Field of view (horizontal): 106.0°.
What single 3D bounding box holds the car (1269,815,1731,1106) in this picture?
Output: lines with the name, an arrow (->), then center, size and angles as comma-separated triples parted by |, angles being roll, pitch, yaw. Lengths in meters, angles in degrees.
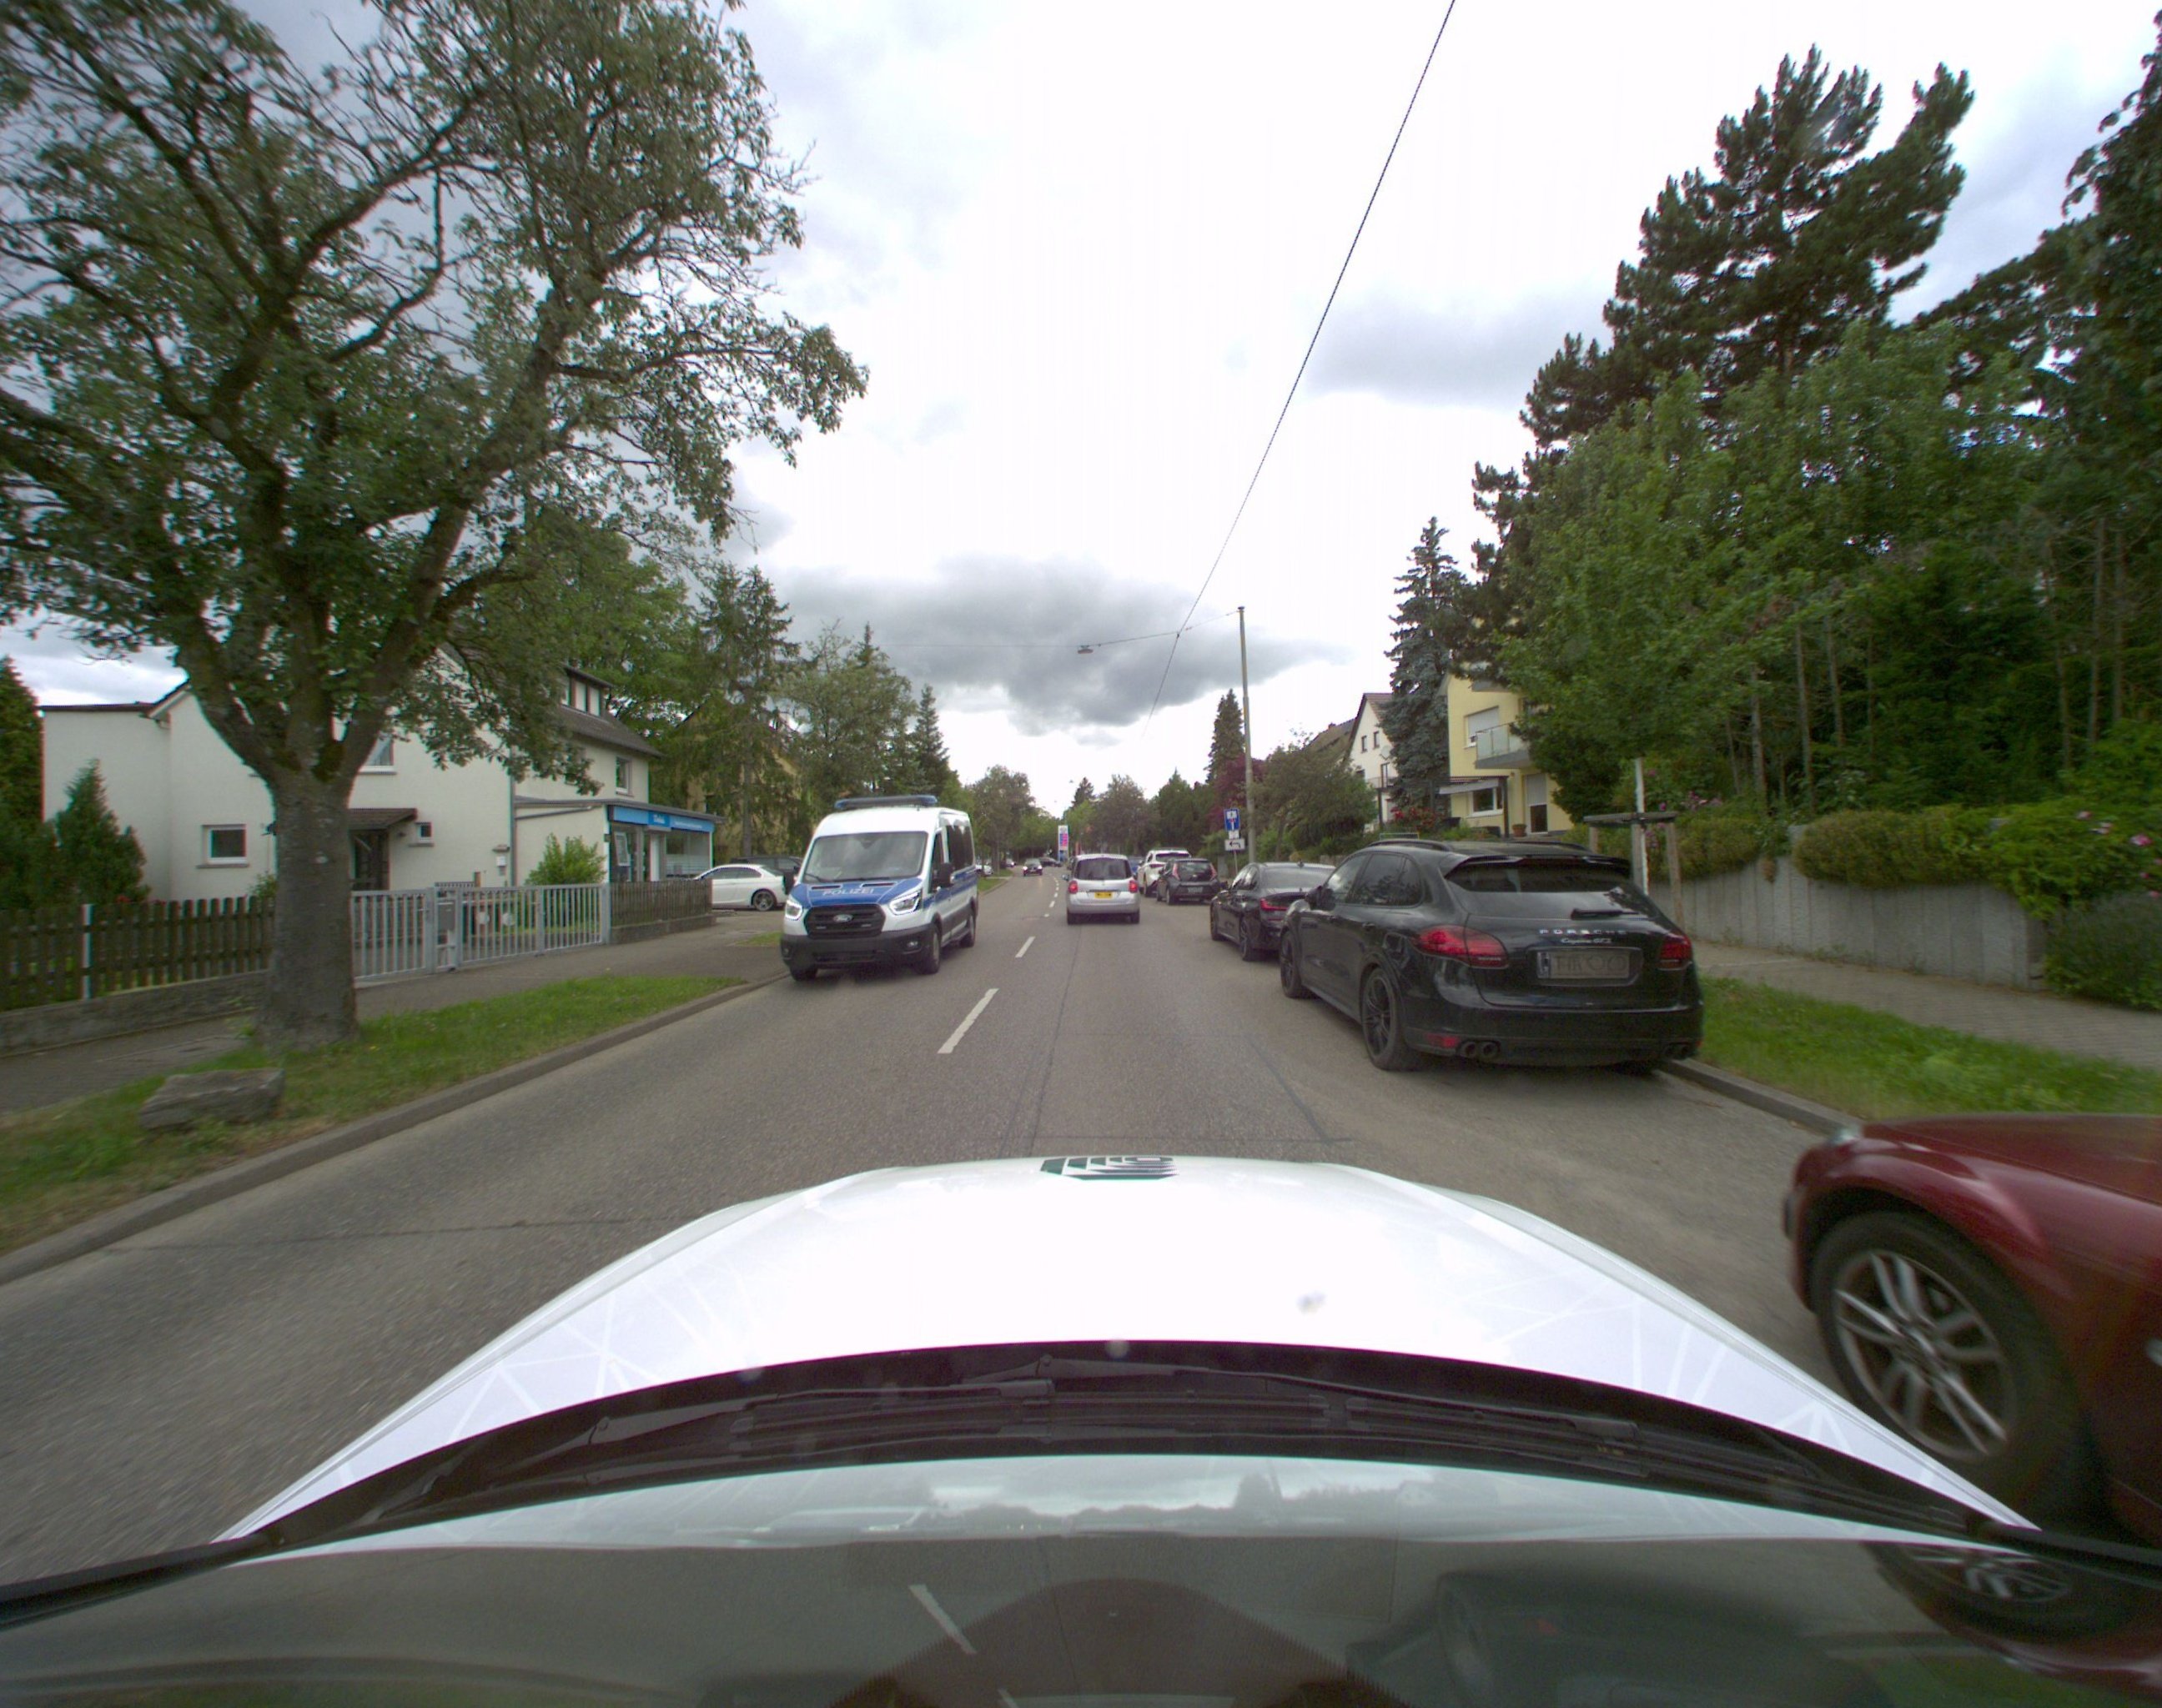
car -> 3.049, 0.641, 7.192 | 1.823, 1.712, 4.551 | -1, 0, 2

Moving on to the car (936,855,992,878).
car -> -8.916, 0.927, 62.291 | 4.077, 1.706, 1.746 | -1, 0, -3

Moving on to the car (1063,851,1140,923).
car -> 0.493, 0.718, 19.434 | 1.673, 1.560, 3.512 | 0, 0, 1

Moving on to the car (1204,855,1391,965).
car -> 3.198, 0.740, 13.012 | 1.824, 1.457, 4.550 | 0, 0, 0

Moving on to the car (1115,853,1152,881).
car -> 2.958, 0.722, 46.369 | 1.623, 1.452, 3.871 | -2, 0, -3

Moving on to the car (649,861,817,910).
car -> -10.415, 0.932, 24.648 | 4.272, 1.368, 1.812 | 1, -1, -6

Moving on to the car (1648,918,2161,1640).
car -> 2.750, 0.858, 0.999 | 1.476, 1.236, 3.885 | 1, 0, 1

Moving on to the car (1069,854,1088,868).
car -> -0.309, 0.746, 93.004 | 1.694, 1.506, 3.963 | -1, 0, -7

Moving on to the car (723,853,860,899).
car -> -10.637, 0.805, 30.135 | 4.317, 1.618, 1.974 | 0, -1, 1

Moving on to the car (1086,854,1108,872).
car -> 1.413, 0.773, 73.037 | 1.691, 1.570, 3.952 | -1, 0, -3

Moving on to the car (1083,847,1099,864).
car -> 1.600, 0.278, 138.205 | 2.277, 2.911, 5.270 | 0, 0, -4

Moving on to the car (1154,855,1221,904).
car -> 3.343, 0.767, 26.121 | 1.554, 1.443, 3.503 | 0, 0, -3

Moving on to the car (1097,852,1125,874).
car -> 2.224, 0.694, 62.079 | 1.692, 1.557, 3.950 | -2, 0, -4

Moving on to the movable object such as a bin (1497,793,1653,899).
movable object such as a bin -> 9.782, -0.145, 16.220 | 2.306, 2.014, 1.341 | 0, -1, -4

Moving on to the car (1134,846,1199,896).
car -> 3.182, 0.606, 31.017 | 1.795, 1.778, 4.700 | 0, 0, -3

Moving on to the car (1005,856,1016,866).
car -> -11.397, 1.130, 131.551 | 1.542, 1.470, 3.737 | -1, 0, -4

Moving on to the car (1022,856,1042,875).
car -> -4.235, 0.981, 70.504 | 1.571, 1.472, 3.467 | -4, 0, -3

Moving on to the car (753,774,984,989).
car -> -2.984, 0.346, 12.872 | 2.066, 2.582, 5.300 | -4, 0, 0
